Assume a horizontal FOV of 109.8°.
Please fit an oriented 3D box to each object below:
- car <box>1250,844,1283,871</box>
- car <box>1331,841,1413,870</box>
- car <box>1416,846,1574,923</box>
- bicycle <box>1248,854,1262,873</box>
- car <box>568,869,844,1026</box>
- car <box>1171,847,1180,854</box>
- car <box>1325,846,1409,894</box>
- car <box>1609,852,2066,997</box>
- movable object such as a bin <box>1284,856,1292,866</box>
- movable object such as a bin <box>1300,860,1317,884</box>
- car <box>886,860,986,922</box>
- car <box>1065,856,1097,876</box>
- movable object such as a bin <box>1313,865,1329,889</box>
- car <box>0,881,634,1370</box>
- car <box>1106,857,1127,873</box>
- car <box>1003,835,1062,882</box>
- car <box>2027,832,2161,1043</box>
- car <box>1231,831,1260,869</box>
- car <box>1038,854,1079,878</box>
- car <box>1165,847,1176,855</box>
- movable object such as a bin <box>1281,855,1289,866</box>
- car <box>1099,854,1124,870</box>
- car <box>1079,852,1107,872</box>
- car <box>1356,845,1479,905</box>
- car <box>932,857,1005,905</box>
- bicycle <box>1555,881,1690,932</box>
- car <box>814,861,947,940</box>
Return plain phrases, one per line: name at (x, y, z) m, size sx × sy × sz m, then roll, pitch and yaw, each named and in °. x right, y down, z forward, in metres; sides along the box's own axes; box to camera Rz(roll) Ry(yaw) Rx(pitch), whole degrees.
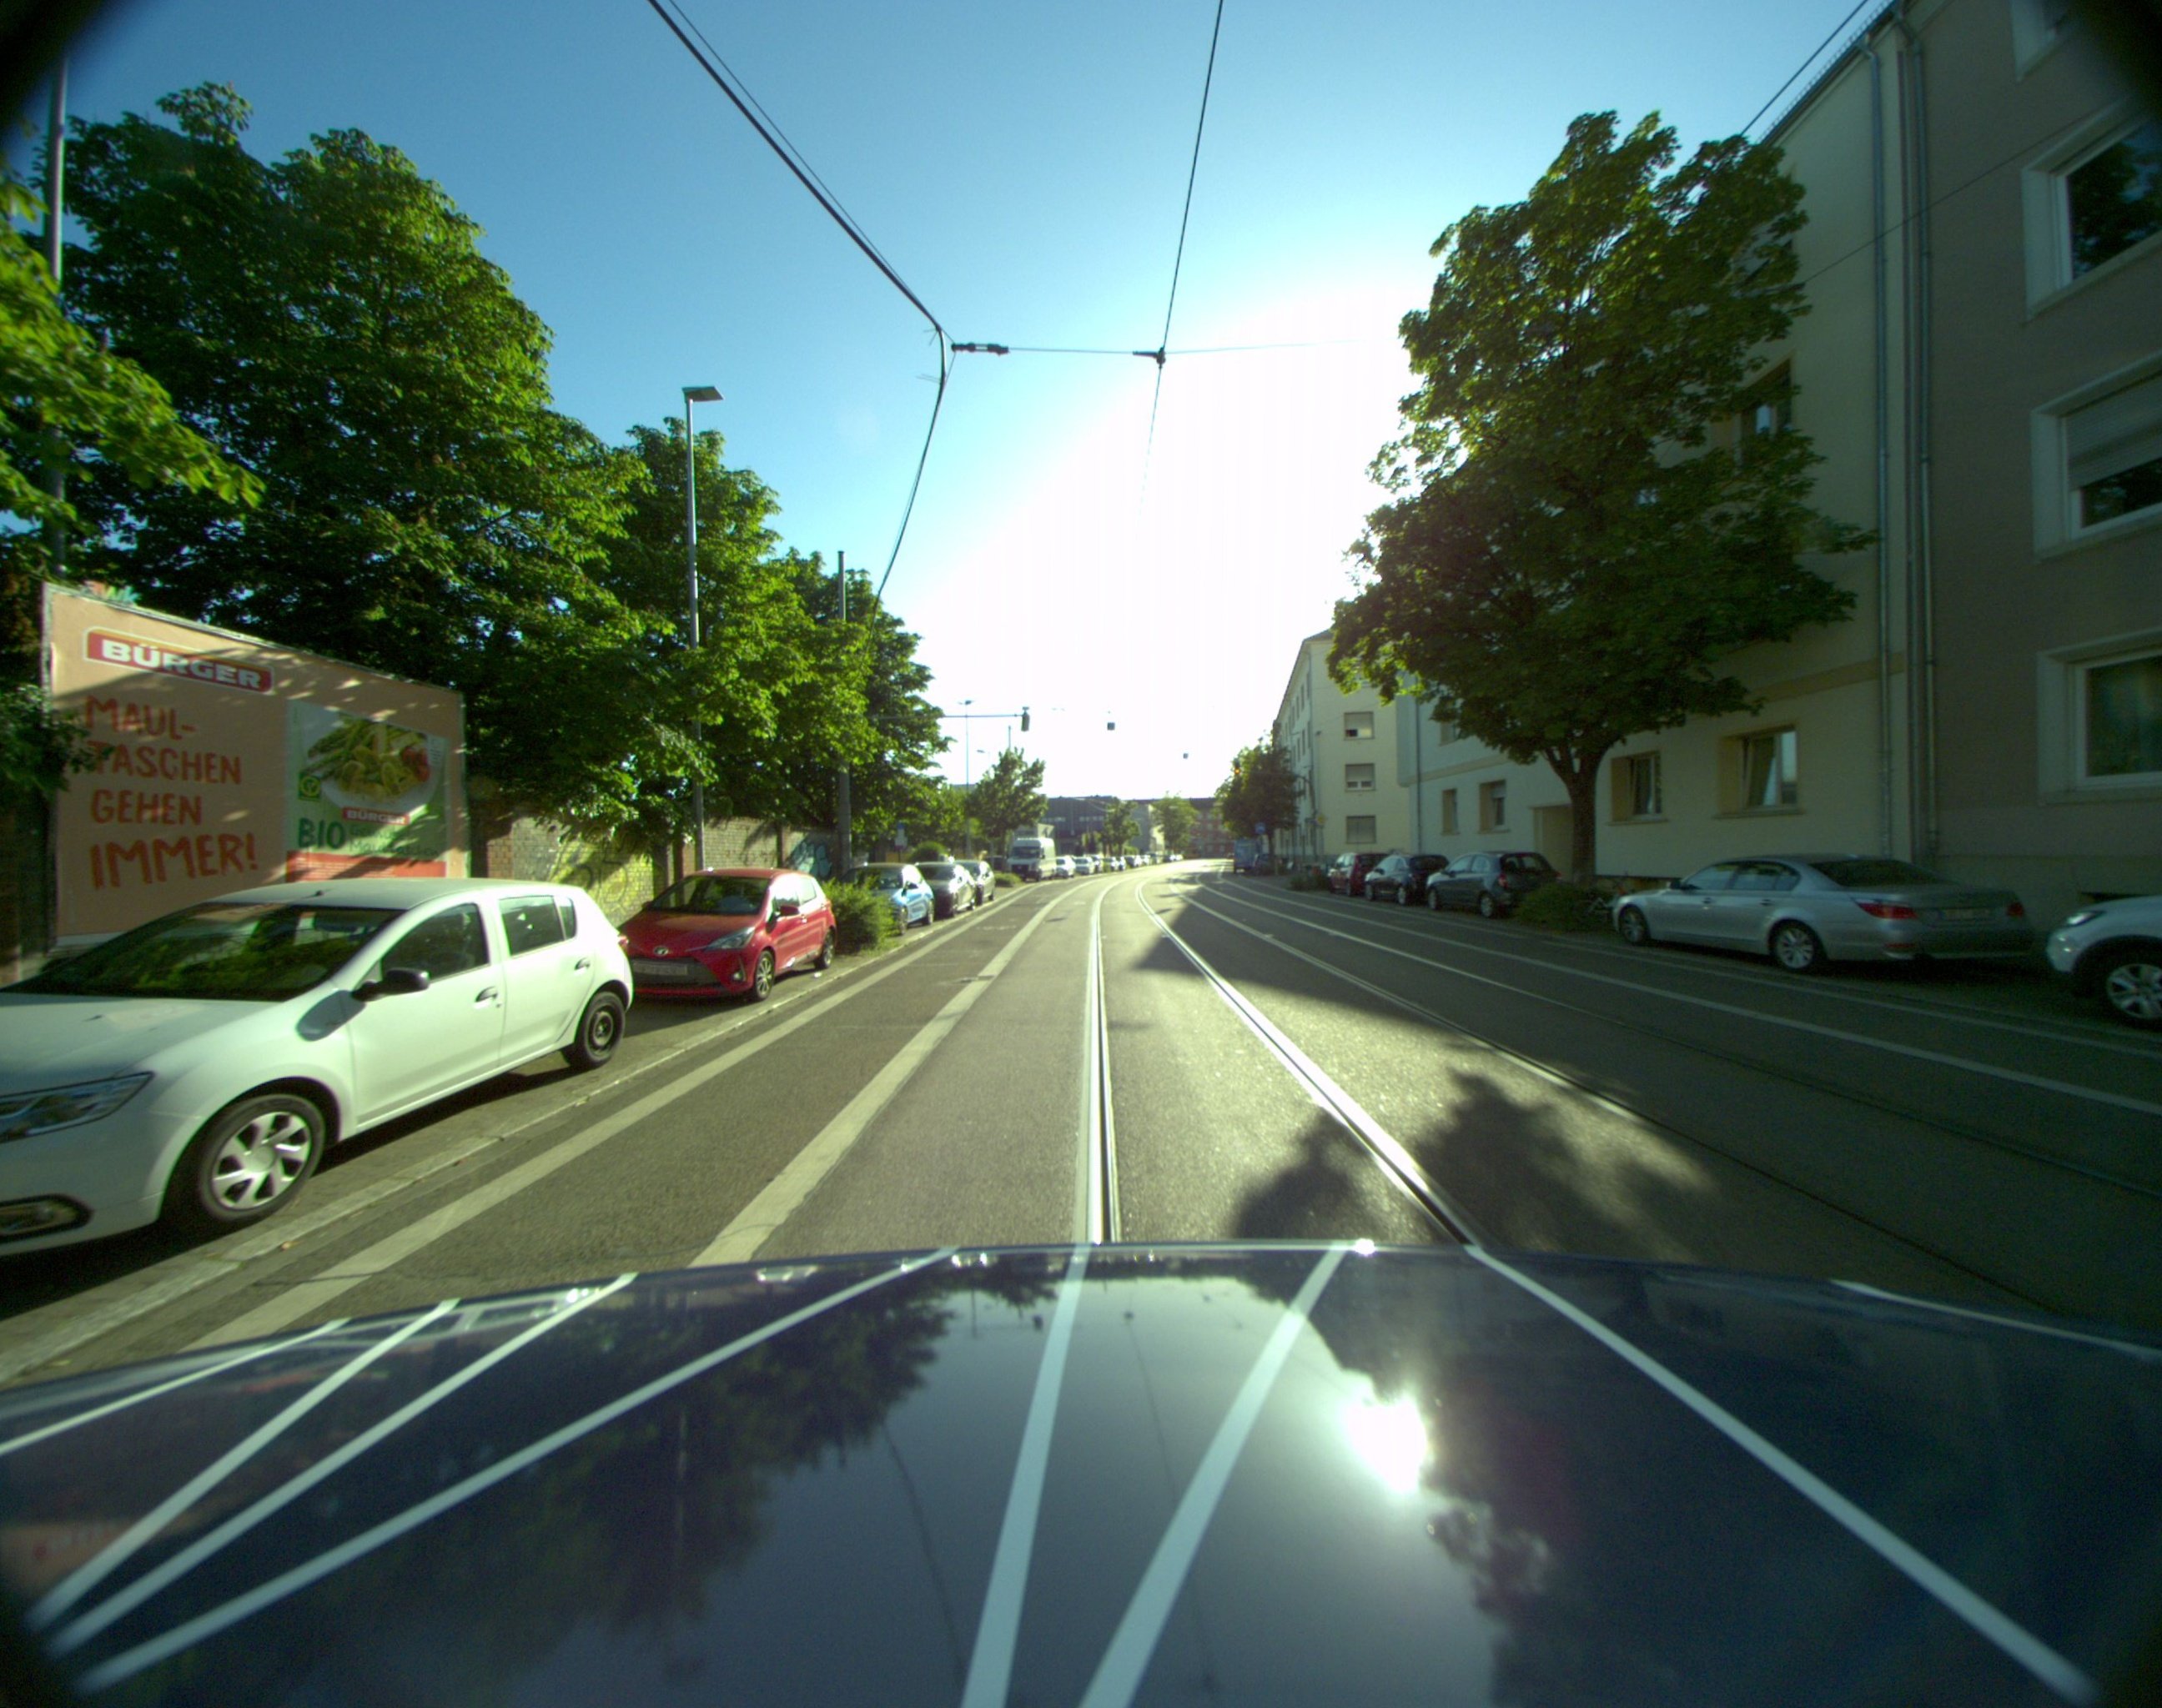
car at (12.808, 0.209, 52.664) m, size 1.794 × 1.551 × 4.645 m, roll -8°, pitch -1°, yaw 11°
car at (16.006, 0.071, 42.014) m, size 3.894 × 1.449 × 1.769 m, roll -2°, pitch 0°, yaw 7°
car at (9.864, 0.662, 18.451) m, size 1.595 × 1.604 × 3.730 m, roll -2°, pitch 0°, yaw -3°
bicycle at (10.820, 0.575, 47.284) m, size 0.513 × 1.127 × 2.032 m, roll -2°, pitch 0°, yaw 4°
car at (-4.522, 1.016, 9.915) m, size 1.693 × 1.521 × 3.999 m, roll 0°, pitch 0°, yaw -1°
car at (19.917, -0.738, 160.166) m, size 1.715 × 1.481 × 4.627 m, roll 0°, pitch 0°, yaw 11°
car at (9.946, 0.505, 26.711) m, size 1.692 × 1.521 × 4.001 m, roll -2°, pitch 0°, yaw 5°
car at (9.608, 0.740, 10.357) m, size 1.692 × 1.466 × 4.660 m, roll -2°, pitch 0°, yaw 3°
movable object such as a bin at (18.134, 0.614, 66.643) m, size 0.597 × 0.929 × 0.569 m, roll -1°, pitch 1°, yaw 9°
movable object such as a bin at (9.610, 0.774, 32.101) m, size 0.486 × 0.982 × 0.660 m, roll -2°, pitch 1°, yaw 4°
car at (-3.977, 0.956, 21.579) m, size 1.692 × 1.521 × 4.356 m, roll 0°, pitch 0°, yaw 4°
car at (0.016, 0.921, 59.951) m, size 1.730 × 1.503 × 4.255 m, roll 0°, pitch 1°, yaw 11°
movable object such as a bin at (10.120, 0.968, 32.081) m, size 0.486 × 0.982 × 0.660 m, roll -2°, pitch 1°, yaw 4°
car at (-4.642, 1.007, 4.518) m, size 1.693 × 1.521 × 3.999 m, roll 0°, pitch 0°, yaw -2°
car at (3.772, 1.132, 80.207) m, size 1.731 × 1.455 × 4.343 m, roll -2°, pitch 0°, yaw 7°
car at (-2.868, 0.206, 46.201) m, size 2.184 × 2.650 × 6.095 m, roll 1°, pitch 1°, yaw 10°
car at (9.464, 0.650, 4.736) m, size 1.656 × 1.658 × 4.295 m, roll -2°, pitch 0°, yaw -3°
car at (13.161, -0.311, 60.812) m, size 2.020 × 2.809 × 6.037 m, roll -2°, pitch 0°, yaw 12°
car at (-1.477, 0.778, 52.619) m, size 1.913 × 1.521 × 4.604 m, roll 0°, pitch 1°, yaw 10°
car at (17.260, -0.600, 146.940) m, size 1.705 × 1.473 × 4.662 m, roll 2°, pitch 1°, yaw 11°
movable object such as a bin at (18.388, 0.598, 68.432) m, size 0.597 × 0.929 × 0.569 m, roll -1°, pitch 1°, yaw 9°
car at (3.042, 0.791, 74.950) m, size 1.731 × 1.455 × 4.502 m, roll -2°, pitch 0°, yaw 12°
car at (1.074, 0.636, 65.539) m, size 1.730 × 1.595 × 4.346 m, roll 1°, pitch 1°, yaw 11°
car at (9.857, 0.579, 22.606) m, size 1.791 × 1.521 × 3.857 m, roll -4°, pitch 0°, yaw -1°
car at (-3.911, 0.907, 26.992) m, size 1.692 × 1.521 × 4.001 m, roll 0°, pitch 0°, yaw 4°
bicycle at (10.022, 0.966, 14.102) m, size 2.132 × 0.820 × 0.477 m, roll -2°, pitch 1°, yaw 1°
car at (-4.389, 0.957, 17.279) m, size 1.692 × 1.521 × 4.001 m, roll 0°, pitch 0°, yaw 4°
